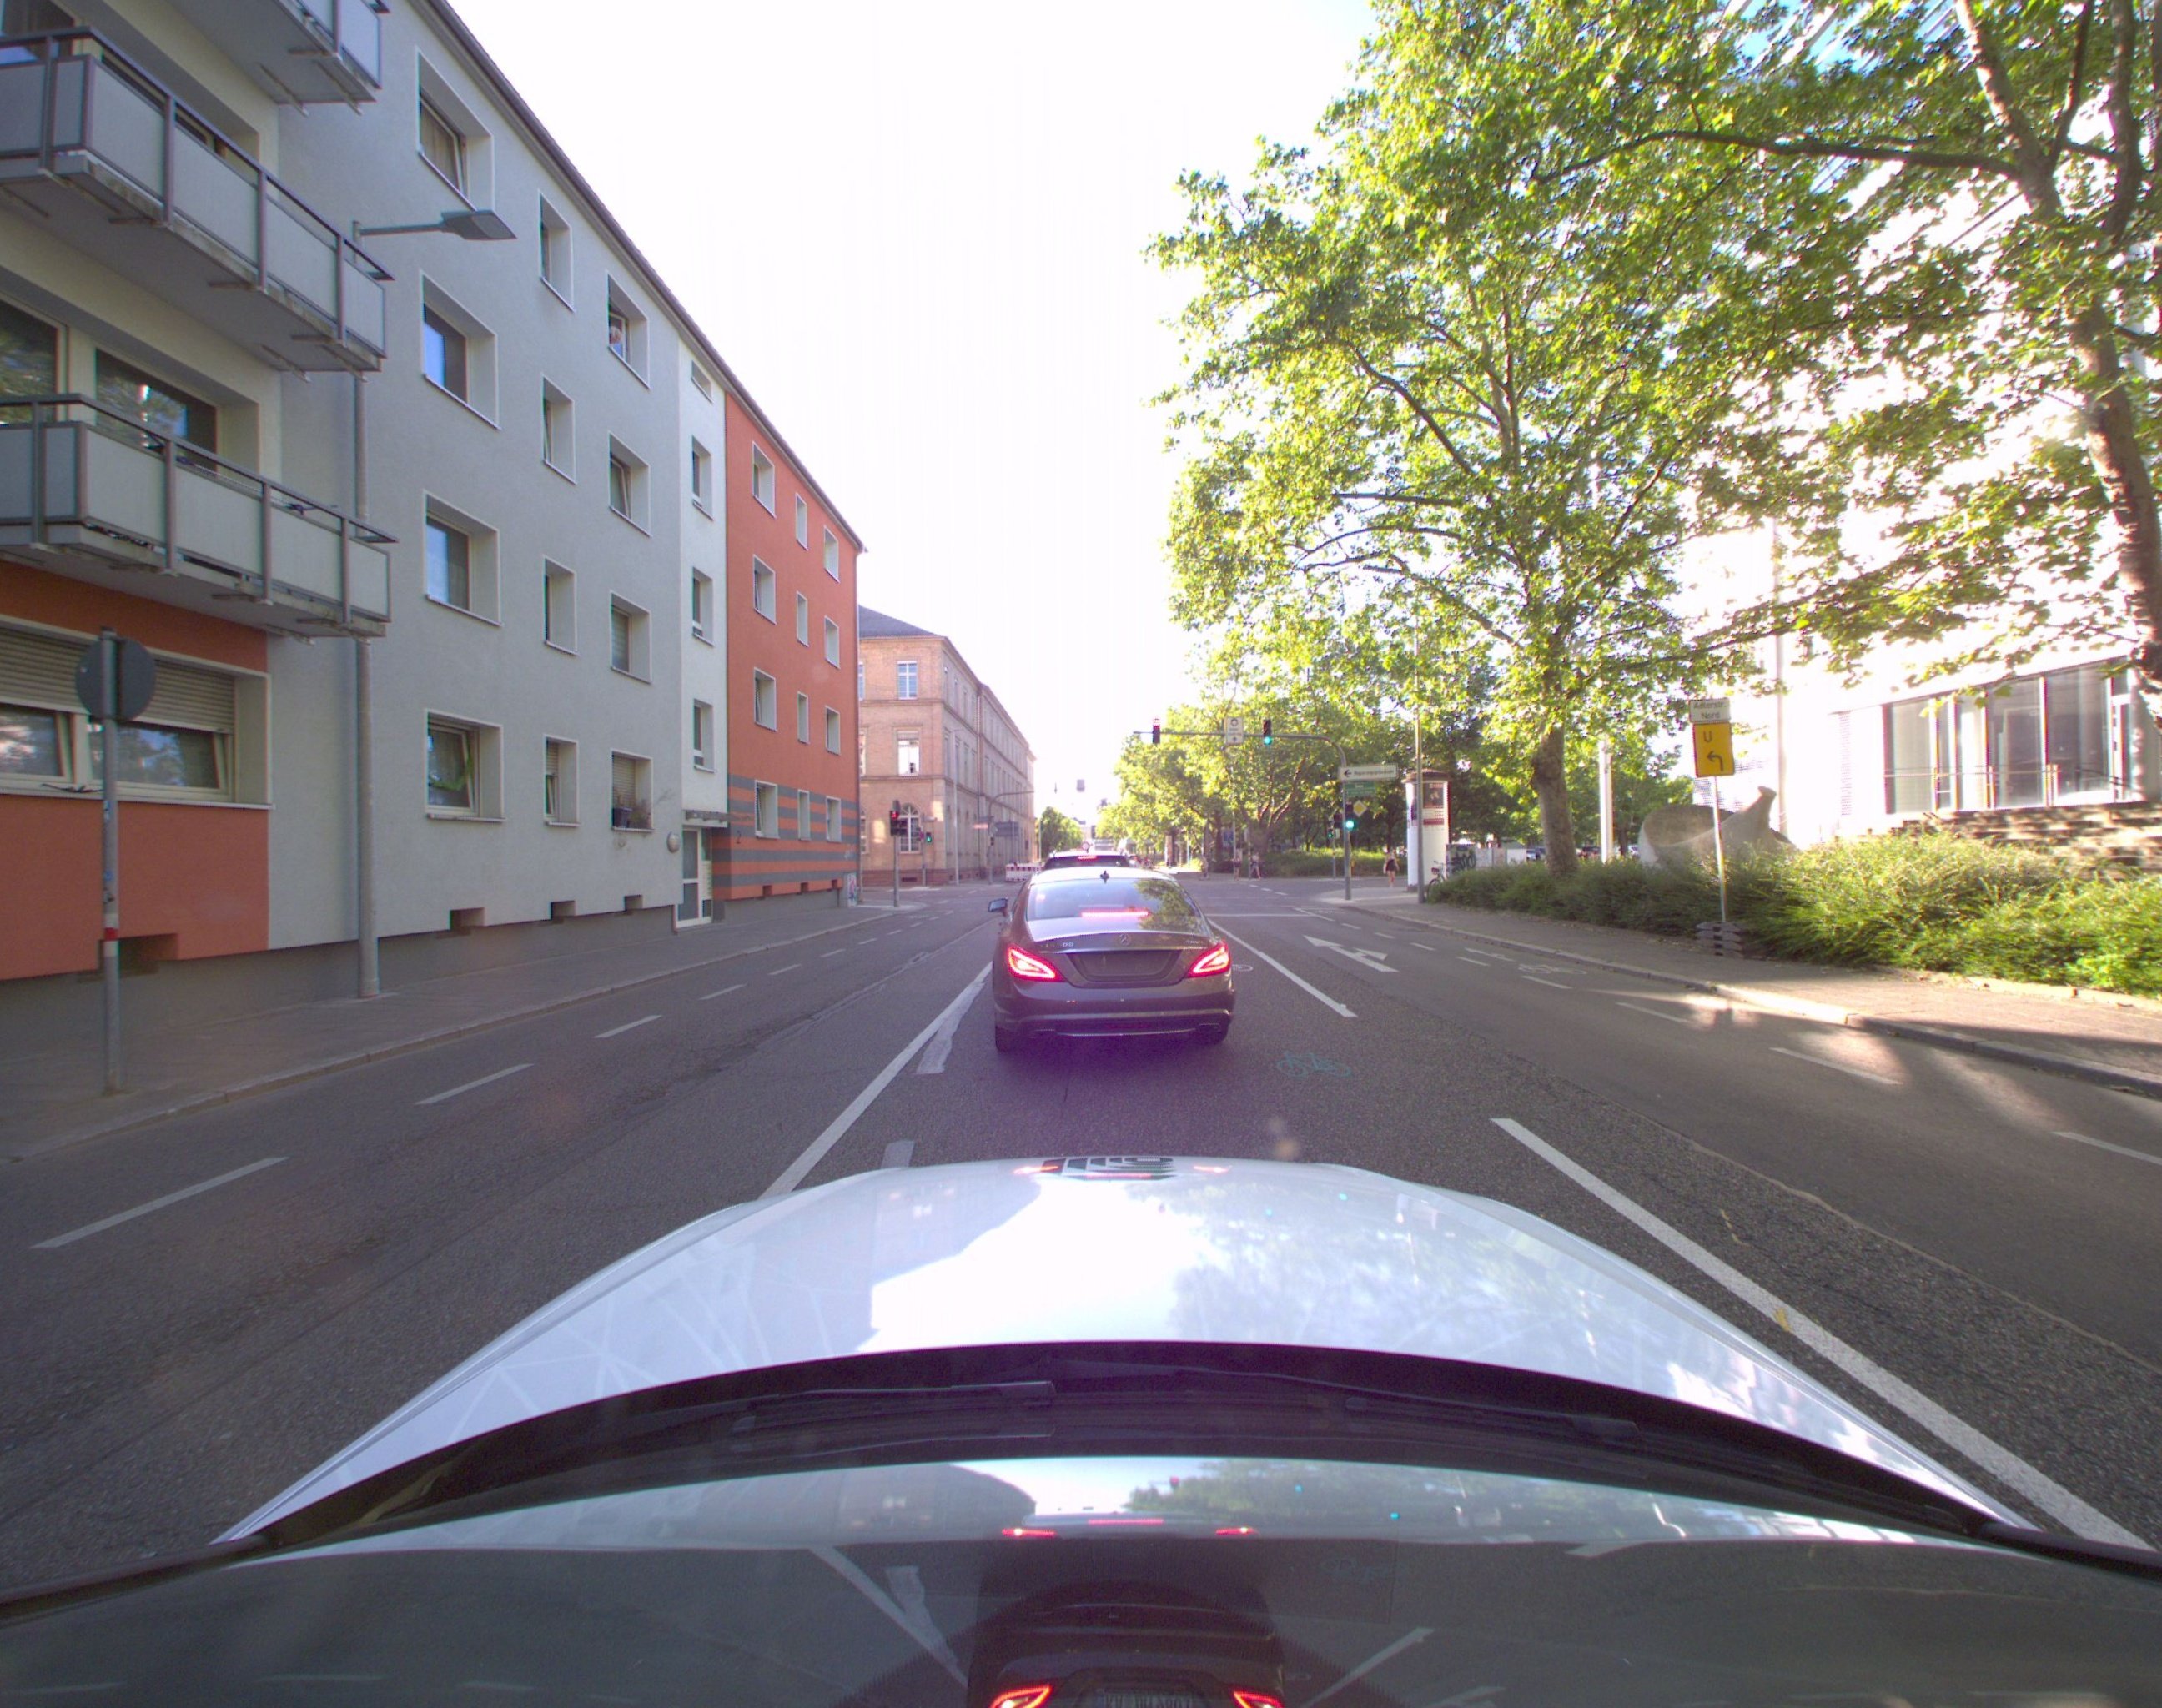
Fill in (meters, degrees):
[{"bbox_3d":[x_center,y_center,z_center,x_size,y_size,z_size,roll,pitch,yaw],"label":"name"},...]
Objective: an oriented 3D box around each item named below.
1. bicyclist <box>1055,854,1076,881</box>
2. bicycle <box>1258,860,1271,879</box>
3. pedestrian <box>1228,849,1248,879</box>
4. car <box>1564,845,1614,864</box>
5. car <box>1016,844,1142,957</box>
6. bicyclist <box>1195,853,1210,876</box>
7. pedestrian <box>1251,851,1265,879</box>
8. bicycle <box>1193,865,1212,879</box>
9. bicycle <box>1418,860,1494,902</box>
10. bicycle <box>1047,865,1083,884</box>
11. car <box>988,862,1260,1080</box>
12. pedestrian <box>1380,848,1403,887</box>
[{"bbox_3d":[-0.889,0.754,46.549,0.957,1.500,0.813,0,-1,-35],"label":"bicyclist"},{"bbox_3d":[11.218,0.939,49.769,0.522,1.100,1.743,0,-1,4],"label":"bicycle"},{"bbox_3d":[9.669,0.596,50.123,0.736,1.808,0.901,-1,-2,-28],"label":"pedestrian"},{"bbox_3d":[39.750,0.051,63.814,1.624,1.483,3.796,0,-1,1],"label":"car"},{"bbox_3d":[0.088,0.692,13.898,1.801,1.612,4.003,-1,-1,3],"label":"car"},{"bbox_3d":[8.075,0.688,54.146,0.642,1.558,0.812,-1,-1,33],"label":"bicyclist"},{"bbox_3d":[10.850,0.667,49.991,0.680,1.697,0.971,0,-1,2],"label":"pedestrian"},{"bbox_3d":[8.104,1.187,54.204,0.543,0.891,1.879,-1,-1,33],"label":"bicycle"},{"bbox_3d":[10.806,0.770,23.495,1.969,1.190,0.528,0,-1,0],"label":"bicycle"},{"bbox_3d":[-0.897,1.154,46.553,1.971,1.062,0.699,0,-1,-34],"label":"bicycle"},{"bbox_3d":[0.128,0.797,7.740,1.840,1.429,4.510,0,0,-5],"label":"car"},{"bbox_3d":[13.013,0.569,34.186,0.792,1.630,0.911,-1,-1,15],"label":"pedestrian"}]
